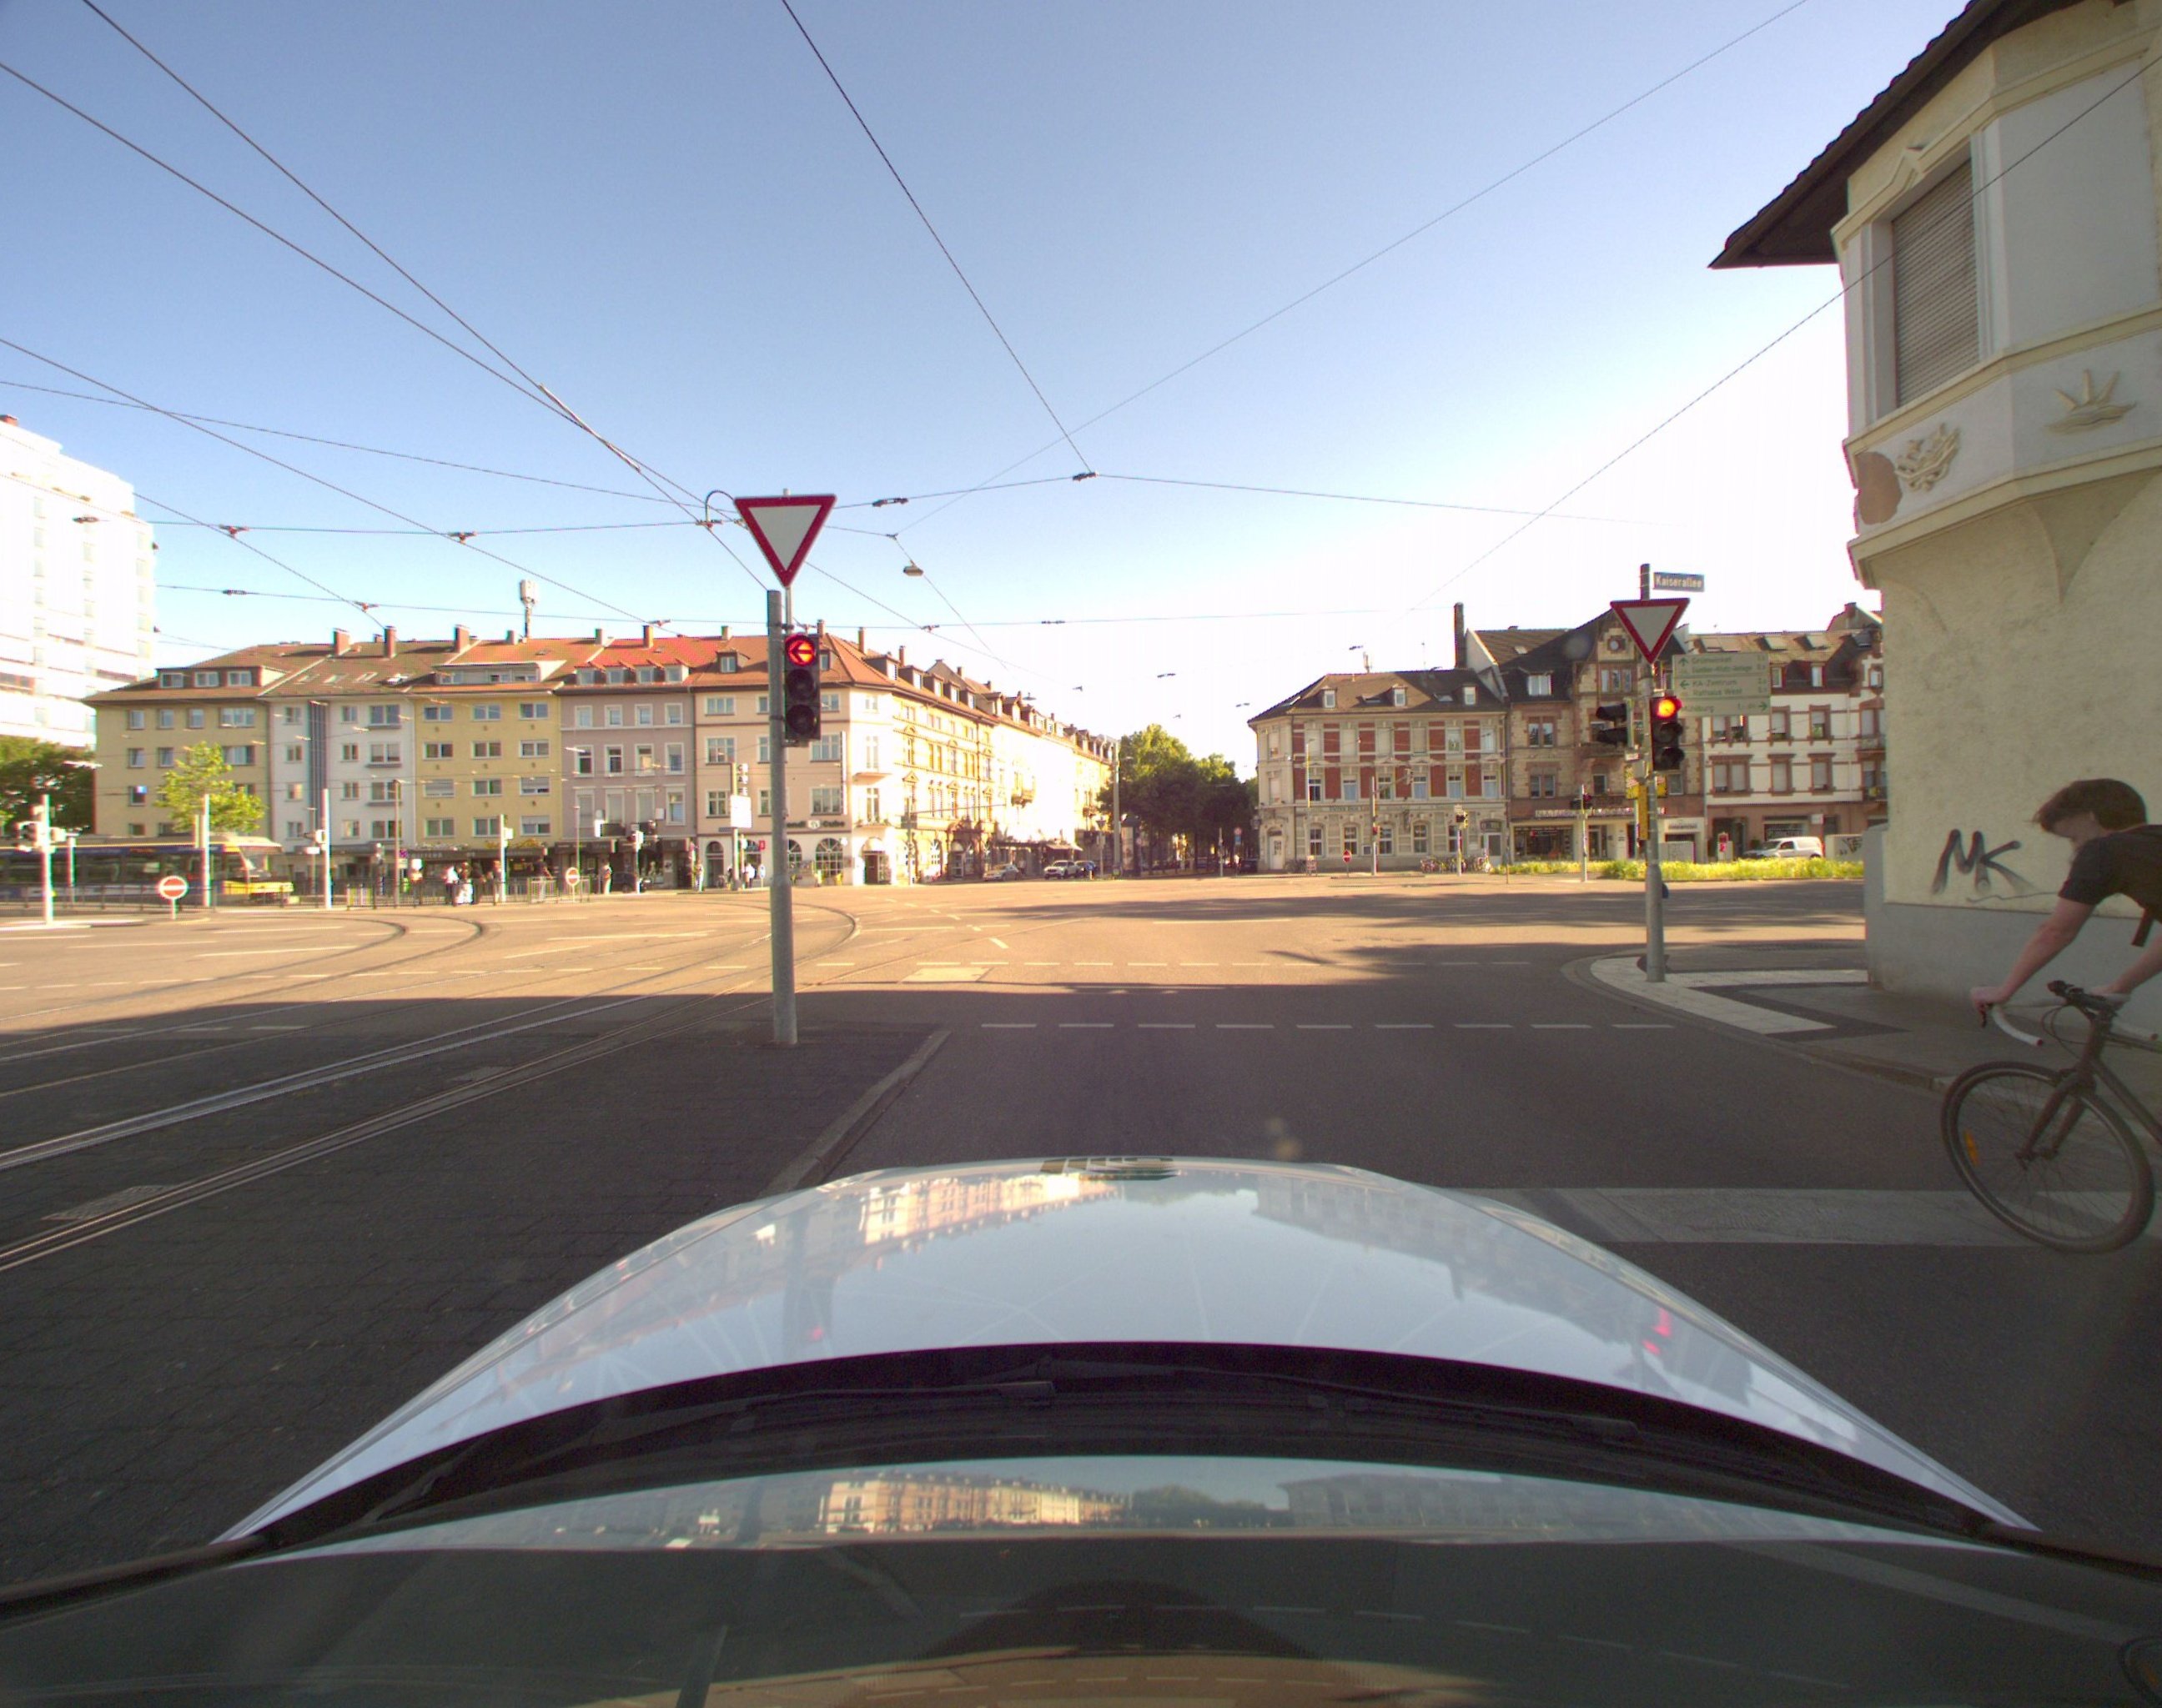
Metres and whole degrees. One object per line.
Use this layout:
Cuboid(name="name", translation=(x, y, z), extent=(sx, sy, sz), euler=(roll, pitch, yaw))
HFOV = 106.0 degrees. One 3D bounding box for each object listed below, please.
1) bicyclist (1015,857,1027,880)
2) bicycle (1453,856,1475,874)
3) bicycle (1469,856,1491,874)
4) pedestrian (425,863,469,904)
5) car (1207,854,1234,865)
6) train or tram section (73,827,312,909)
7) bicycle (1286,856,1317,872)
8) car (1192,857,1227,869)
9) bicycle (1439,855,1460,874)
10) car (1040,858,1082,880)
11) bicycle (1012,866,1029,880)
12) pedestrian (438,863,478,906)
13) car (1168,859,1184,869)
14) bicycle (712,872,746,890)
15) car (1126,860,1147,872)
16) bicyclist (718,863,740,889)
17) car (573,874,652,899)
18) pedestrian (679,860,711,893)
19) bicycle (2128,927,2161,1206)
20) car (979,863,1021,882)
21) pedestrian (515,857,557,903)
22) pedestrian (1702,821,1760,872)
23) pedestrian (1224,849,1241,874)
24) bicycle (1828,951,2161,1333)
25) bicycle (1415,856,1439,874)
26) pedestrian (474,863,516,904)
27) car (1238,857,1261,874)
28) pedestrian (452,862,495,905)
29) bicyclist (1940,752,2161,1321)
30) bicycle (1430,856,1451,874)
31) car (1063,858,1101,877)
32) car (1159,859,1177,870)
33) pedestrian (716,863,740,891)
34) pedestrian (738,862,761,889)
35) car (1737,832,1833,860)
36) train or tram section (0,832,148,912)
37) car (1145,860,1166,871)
Cuboid(name="bicyclist", translation=(-4.811, 1.129, 65.339), extent=(0.674, 1.820, 1.075), euler=(-2, 0, 14))
Cuboid(name="bicycle", translation=(24.780, 0.707, 52.690), extent=(0.615, 1.143, 2.178), euler=(-2, 0, 7))
Cuboid(name="bicycle", translation=(25.757, 0.686, 52.600), extent=(0.606, 1.136, 2.139), euler=(-2, 0, 7))
Cuboid(name="pedestrian", translation=(-25.302, 1.181, 32.515), extent=(0.998, 1.598, 0.946), euler=(-2, 0, 18))
Cuboid(name="car", translation=(22.833, 0.968, 133.303), extent=(3.948, 1.706, 2.013), euler=(-2, 0, 32))
Cuboid(name="train or tram section", translation=(-41.394, 0.640, 38.123), extent=(7.911, 3.500, 2.823), euler=(-1, 0, 0))
Cuboid(name="bicycle", translation=(15.502, 0.720, 57.190), extent=(2.081, 1.124, 0.366), euler=(0, -1, -3))
Cuboid(name="car", translation=(18.143, 1.305, 115.095), extent=(4.335, 1.612, 2.012), euler=(-2, 0, 28))
Cuboid(name="bicycle", translation=(23.860, 0.669, 52.785), extent=(0.615, 1.143, 2.178), euler=(-2, 0, 7))
Cuboid(name="car", translation=(-1.606, 1.249, 67.538), extent=(1.977, 1.684, 4.413), euler=(-2, 0, 20))
Cuboid(name="bicycle", translation=(-4.815, 1.510, 65.295), extent=(0.675, 1.066, 2.133), euler=(-2, 0, 14))
Cuboid(name="pedestrian", translation=(-24.171, 1.164, 31.598), extent=(0.996, 1.598, 0.947), euler=(-2, 0, 34))
Cuboid(name="car", translation=(15.832, 1.718, 136.167), extent=(1.750, 1.549, 4.411), euler=(-2, 0, 18))
Cuboid(name="bicycle", translation=(-24.621, 1.869, 57.028), extent=(2.083, 1.181, 0.631), euler=(-1, 0, 1))
Cuboid(name="car", translation=(7.535, 1.666, 110.981), extent=(1.978, 1.486, 4.017), euler=(-1, 0, 16))
Cuboid(name="bicyclist", translation=(-24.675, 1.509, 57.103), extent=(1.161, 1.775, 0.748), euler=(-1, 0, 0))
Cuboid(name="car", translation=(-30.618, 2.140, 53.335), extent=(3.974, 1.453, 2.000), euler=(-1, 0, -1))
Cuboid(name="pedestrian", translation=(-20.126, 1.151, 42.463), extent=(1.076, 1.685, 1.104), euler=(-2, 0, 1))
Cuboid(name="bicycle", translation=(4.537, 0.855, 2.445), extent=(0.516, 1.116, 1.815), euler=(-2, 0, 4))
Cuboid(name="car", translation=(-6.681, 1.520, 67.381), extent=(1.883, 1.455, 4.020), euler=(-2, 0, 20))
Cuboid(name="pedestrian", translation=(-21.692, 1.030, 32.433), extent=(0.999, 1.775, 0.944), euler=(-2, 0, 12))
Cuboid(name="pedestrian", translation=(27.115, -0.310, 34.000), extent=(1.314, 2.044, 1.307), euler=(-2, 0, 1))
Cuboid(name="pedestrian", translation=(10.616, 0.542, 57.093), extent=(1.040, 1.744, 0.810), euler=(-1, 0, 8))
Cuboid(name="bicycle", translation=(3.617, 0.946, 2.670), extent=(0.642, 1.010, 1.930), euler=(-2, 0, 4))
Cuboid(name="bicycle", translation=(22.502, 0.698, 52.987), extent=(0.802, 1.143, 2.178), euler=(-2, 0, 7))
Cuboid(name="pedestrian", translation=(-23.237, 1.164, 32.304), extent=(0.997, 1.598, 0.946), euler=(-2, 0, 22))
Cuboid(name="car", translation=(17.017, 1.138, 82.216), extent=(1.978, 1.585, 4.017), euler=(-2, 0, 16))
Cuboid(name="pedestrian", translation=(-23.149, 1.119, 31.055), extent=(0.997, 1.598, 0.947), euler=(-2, 0, 27))
Cuboid(name="bicyclist", translation=(3.602, 0.558, 2.593), extent=(0.559, 1.754, 1.102), euler=(-2, 0, 4))
Cuboid(name="bicycle", translation=(23.280, 0.688, 52.838), extent=(0.615, 1.143, 2.178), euler=(-2, 0, 7))
Cuboid(name="car", translation=(0.119, 1.216, 74.016), extent=(1.977, 1.612, 4.413), euler=(-2, 0, 20))
Cuboid(name="car", translation=(13.914, 1.698, 130.333), extent=(1.822, 1.552, 4.412), euler=(-2, 0, 19))
Cuboid(name="pedestrian", translation=(-23.002, 1.503, 53.102), extent=(0.998, 1.775, 0.945), euler=(-2, 0, 16))
Cuboid(name="pedestrian", translation=(-22.251, 1.436, 54.640), extent=(0.931, 1.775, 1.014), euler=(-2, 0, 15))
Cuboid(name="car", translation=(45.360, -0.485, 52.555), extent=(4.317, 1.640, 2.152), euler=(-2, 0, 1))
Cuboid(name="train or tram section", translation=(-49.510, 0.881, 38.076), extent=(8.406, 3.500, 2.824), euler=(-1, 0, 0))
Cuboid(name="car", translation=(11.256, 1.729, 122.600), extent=(1.977, 1.612, 4.413), euler=(-2, 0, 20))
